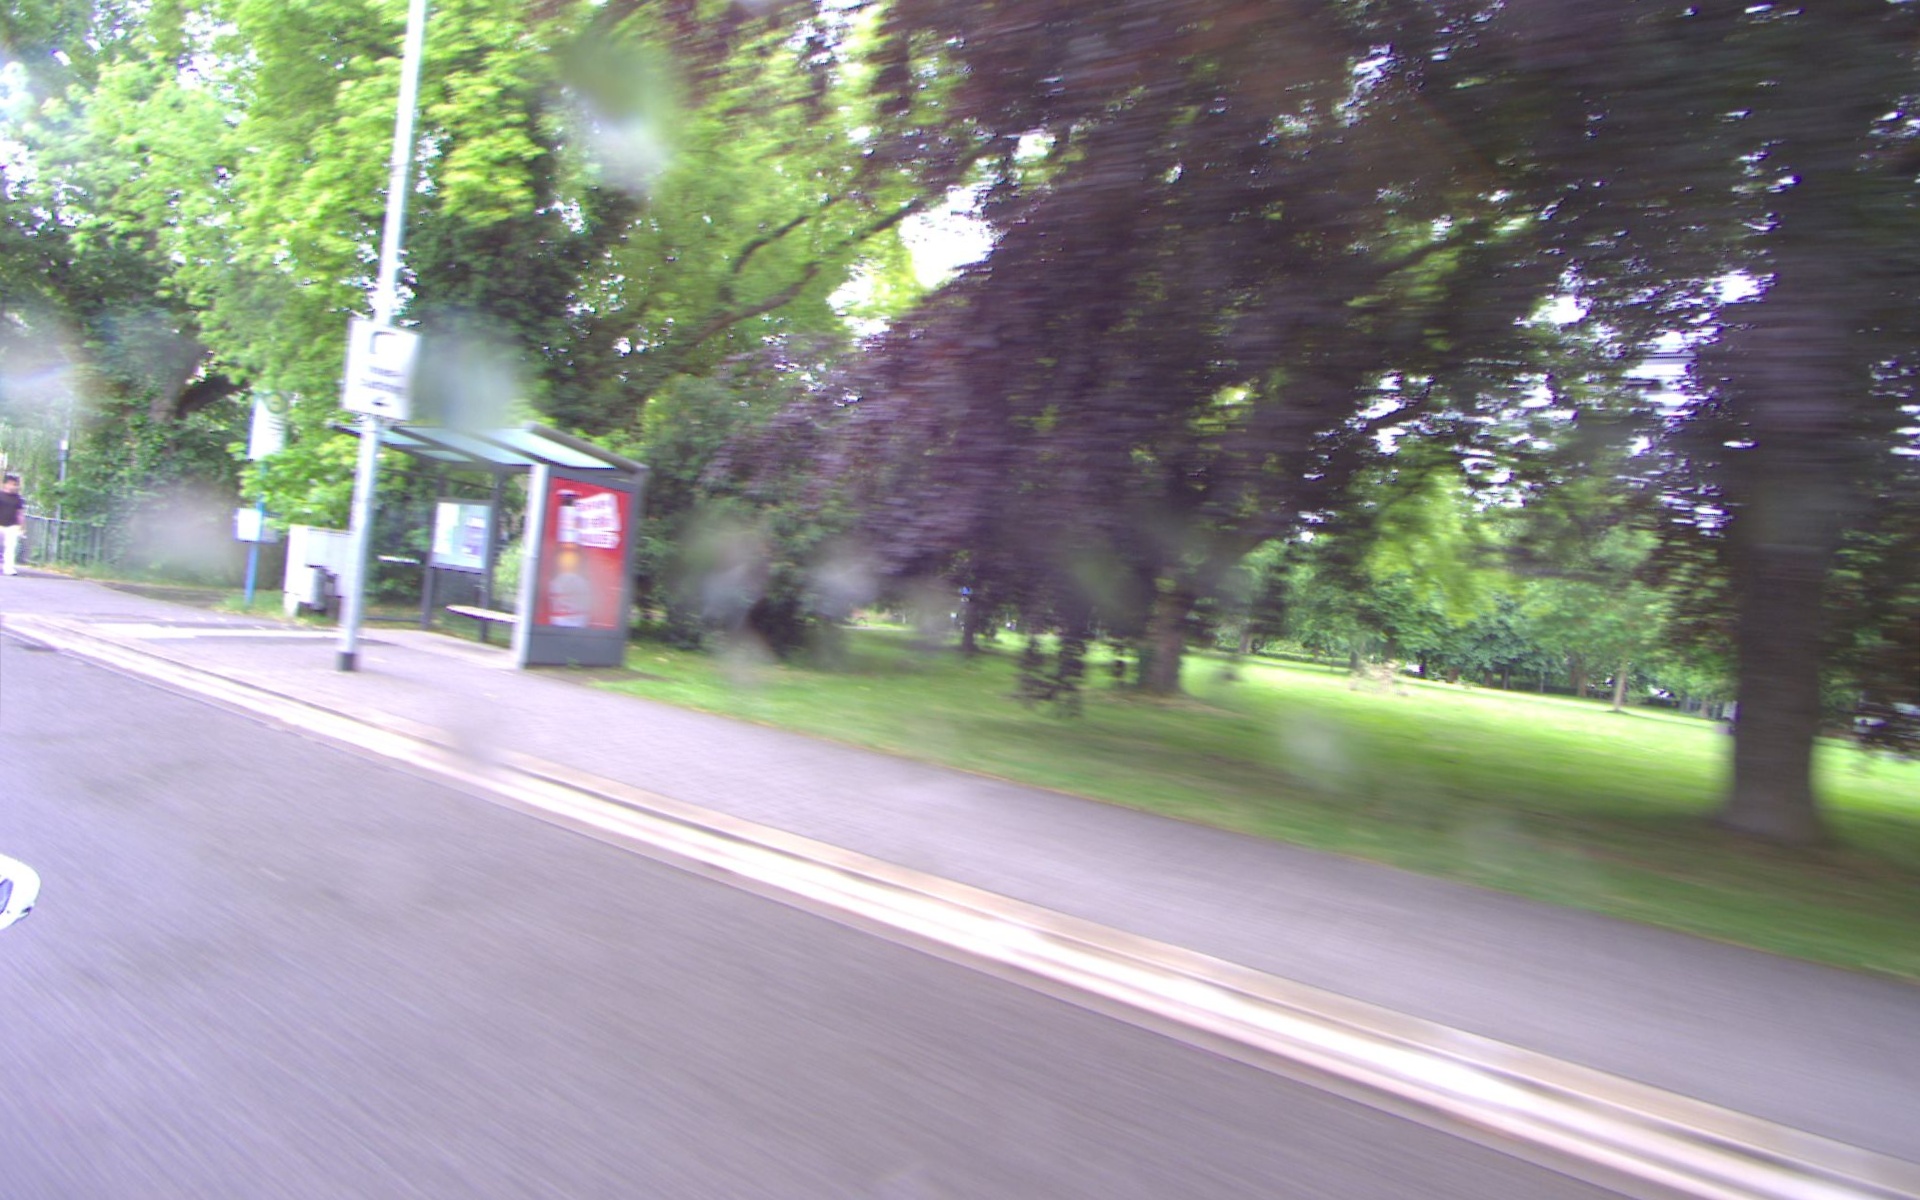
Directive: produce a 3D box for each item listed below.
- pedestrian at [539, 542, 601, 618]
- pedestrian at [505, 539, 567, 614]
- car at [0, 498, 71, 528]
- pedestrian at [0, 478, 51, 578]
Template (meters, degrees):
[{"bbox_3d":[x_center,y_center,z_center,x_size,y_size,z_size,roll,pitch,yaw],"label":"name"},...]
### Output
[{"bbox_3d":[-9.850,-0.495,25.406,0.768,1.774,1.059,6,0,27],"label":"pedestrian"},{"bbox_3d":[-10.813,-0.589,25.669,0.768,1.774,1.059,6,0,27],"label":"pedestrian"},{"bbox_3d":[-59.050,-5.543,63.192,1.782,1.393,4.455,9,0,15],"label":"car"},{"bbox_3d":[-16.989,-1.305,17.900,1.148,1.698,0.848,6,2,31],"label":"pedestrian"}]
